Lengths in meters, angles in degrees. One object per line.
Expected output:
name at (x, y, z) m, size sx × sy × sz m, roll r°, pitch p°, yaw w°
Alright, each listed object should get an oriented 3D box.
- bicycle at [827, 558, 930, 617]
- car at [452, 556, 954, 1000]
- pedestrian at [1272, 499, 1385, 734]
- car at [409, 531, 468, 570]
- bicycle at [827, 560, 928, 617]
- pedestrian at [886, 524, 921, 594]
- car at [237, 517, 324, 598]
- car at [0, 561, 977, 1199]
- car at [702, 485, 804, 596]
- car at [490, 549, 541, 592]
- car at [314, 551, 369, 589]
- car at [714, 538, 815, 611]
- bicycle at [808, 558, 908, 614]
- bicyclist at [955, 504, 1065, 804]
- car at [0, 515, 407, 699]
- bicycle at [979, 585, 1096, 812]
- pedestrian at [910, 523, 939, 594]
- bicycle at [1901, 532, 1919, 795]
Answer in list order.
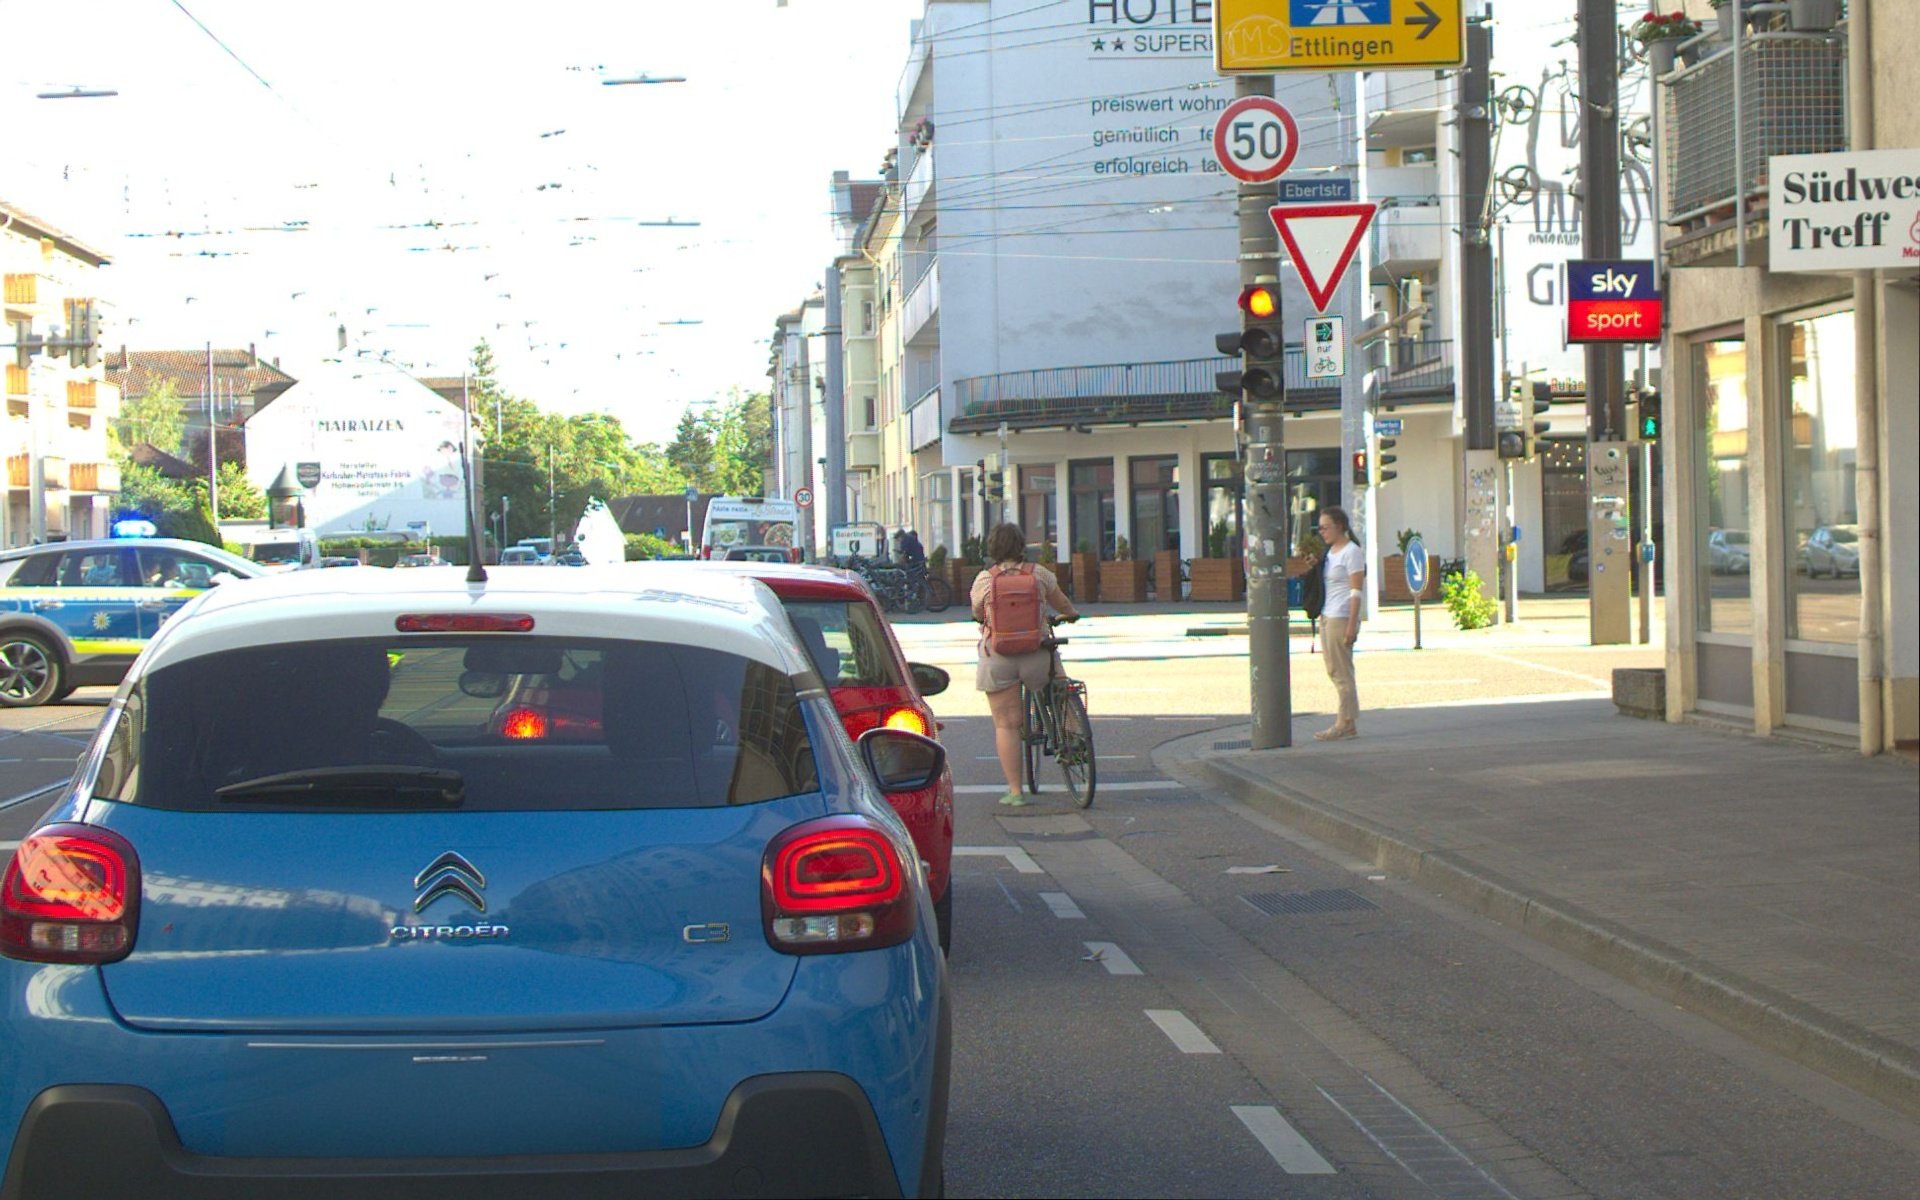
bicycle at (-1.563, -0.243, 65.826) m, size 1.904 × 1.061 × 0.642 m, roll -1°, pitch 1°, yaw -7°
car at (-1.003, 0.578, 13.596) m, size 1.680 × 1.457 × 4.001 m, roll 0°, pitch 1°, yaw -4°
pedestrian at (2.609, 0.108, 24.387) m, size 0.751 × 1.629 × 0.740 m, roll -1°, pitch 1°, yaw 6°
car at (-22.847, -2.168, 150.475) m, size 2.004 × 1.622 × 5.055 m, roll -2°, pitch 1°, yaw -14°
bicycle at (-1.612, -0.237, 67.132) m, size 1.904 × 1.061 × 0.642 m, roll -1°, pitch 1°, yaw -7°
pedestrian at (-1.159, -0.846, 70.270) m, size 0.525 × 1.415 × 0.546 m, roll -1°, pitch 1°, yaw 20°
car at (-23.675, -1.505, 119.944) m, size 2.493 × 2.703 × 5.839 m, roll -1°, pitch 1°, yaw -7°
car at (-0.955, 0.670, 7.386) m, size 1.680 × 1.457 × 4.001 m, roll 0°, pitch 1°, yaw -4°
car at (-4.438, -1.278, 73.252) m, size 2.079 × 2.262 × 5.652 m, roll 0°, pitch 1°, yaw -4°
car at (-22.065, -1.503, 170.849) m, size 2.338 × 2.032 × 5.051 m, roll -1°, pitch 1°, yaw -6°
car at (-25.993, -1.282, 144.577) m, size 1.950 × 1.514 × 4.001 m, roll -1°, pitch 1°, yaw -6°
car at (-3.887, -0.516, 67.816) m, size 1.786 × 1.354 × 3.915 m, roll -1°, pitch 1°, yaw -6°
bicycle at (-2.031, -0.275, 68.324) m, size 1.904 × 1.061 × 0.642 m, roll -1°, pitch 1°, yaw -7°
bicyclist at (0.292, 0.304, 20.611) m, size 0.600 × 1.740 × 1.084 m, roll -1°, pitch 1°, yaw -1°
car at (-7.815, 0.054, 33.828) m, size 4.533 × 1.678 × 1.793 m, roll -1°, pitch 1°, yaw -5°
bicycle at (0.449, 0.560, 20.654) m, size 0.613 × 1.260 × 1.911 m, roll -1°, pitch 1°, yaw -1°
pedestrian at (-0.726, -0.849, 70.018) m, size 0.467 × 1.415 × 0.527 m, roll -1°, pitch 1°, yaw -13°
bicycle at (4.916, 0.314, 15.765) m, size 0.640 × 1.260 × 1.911 m, roll -1°, pitch 1°, yaw -1°
